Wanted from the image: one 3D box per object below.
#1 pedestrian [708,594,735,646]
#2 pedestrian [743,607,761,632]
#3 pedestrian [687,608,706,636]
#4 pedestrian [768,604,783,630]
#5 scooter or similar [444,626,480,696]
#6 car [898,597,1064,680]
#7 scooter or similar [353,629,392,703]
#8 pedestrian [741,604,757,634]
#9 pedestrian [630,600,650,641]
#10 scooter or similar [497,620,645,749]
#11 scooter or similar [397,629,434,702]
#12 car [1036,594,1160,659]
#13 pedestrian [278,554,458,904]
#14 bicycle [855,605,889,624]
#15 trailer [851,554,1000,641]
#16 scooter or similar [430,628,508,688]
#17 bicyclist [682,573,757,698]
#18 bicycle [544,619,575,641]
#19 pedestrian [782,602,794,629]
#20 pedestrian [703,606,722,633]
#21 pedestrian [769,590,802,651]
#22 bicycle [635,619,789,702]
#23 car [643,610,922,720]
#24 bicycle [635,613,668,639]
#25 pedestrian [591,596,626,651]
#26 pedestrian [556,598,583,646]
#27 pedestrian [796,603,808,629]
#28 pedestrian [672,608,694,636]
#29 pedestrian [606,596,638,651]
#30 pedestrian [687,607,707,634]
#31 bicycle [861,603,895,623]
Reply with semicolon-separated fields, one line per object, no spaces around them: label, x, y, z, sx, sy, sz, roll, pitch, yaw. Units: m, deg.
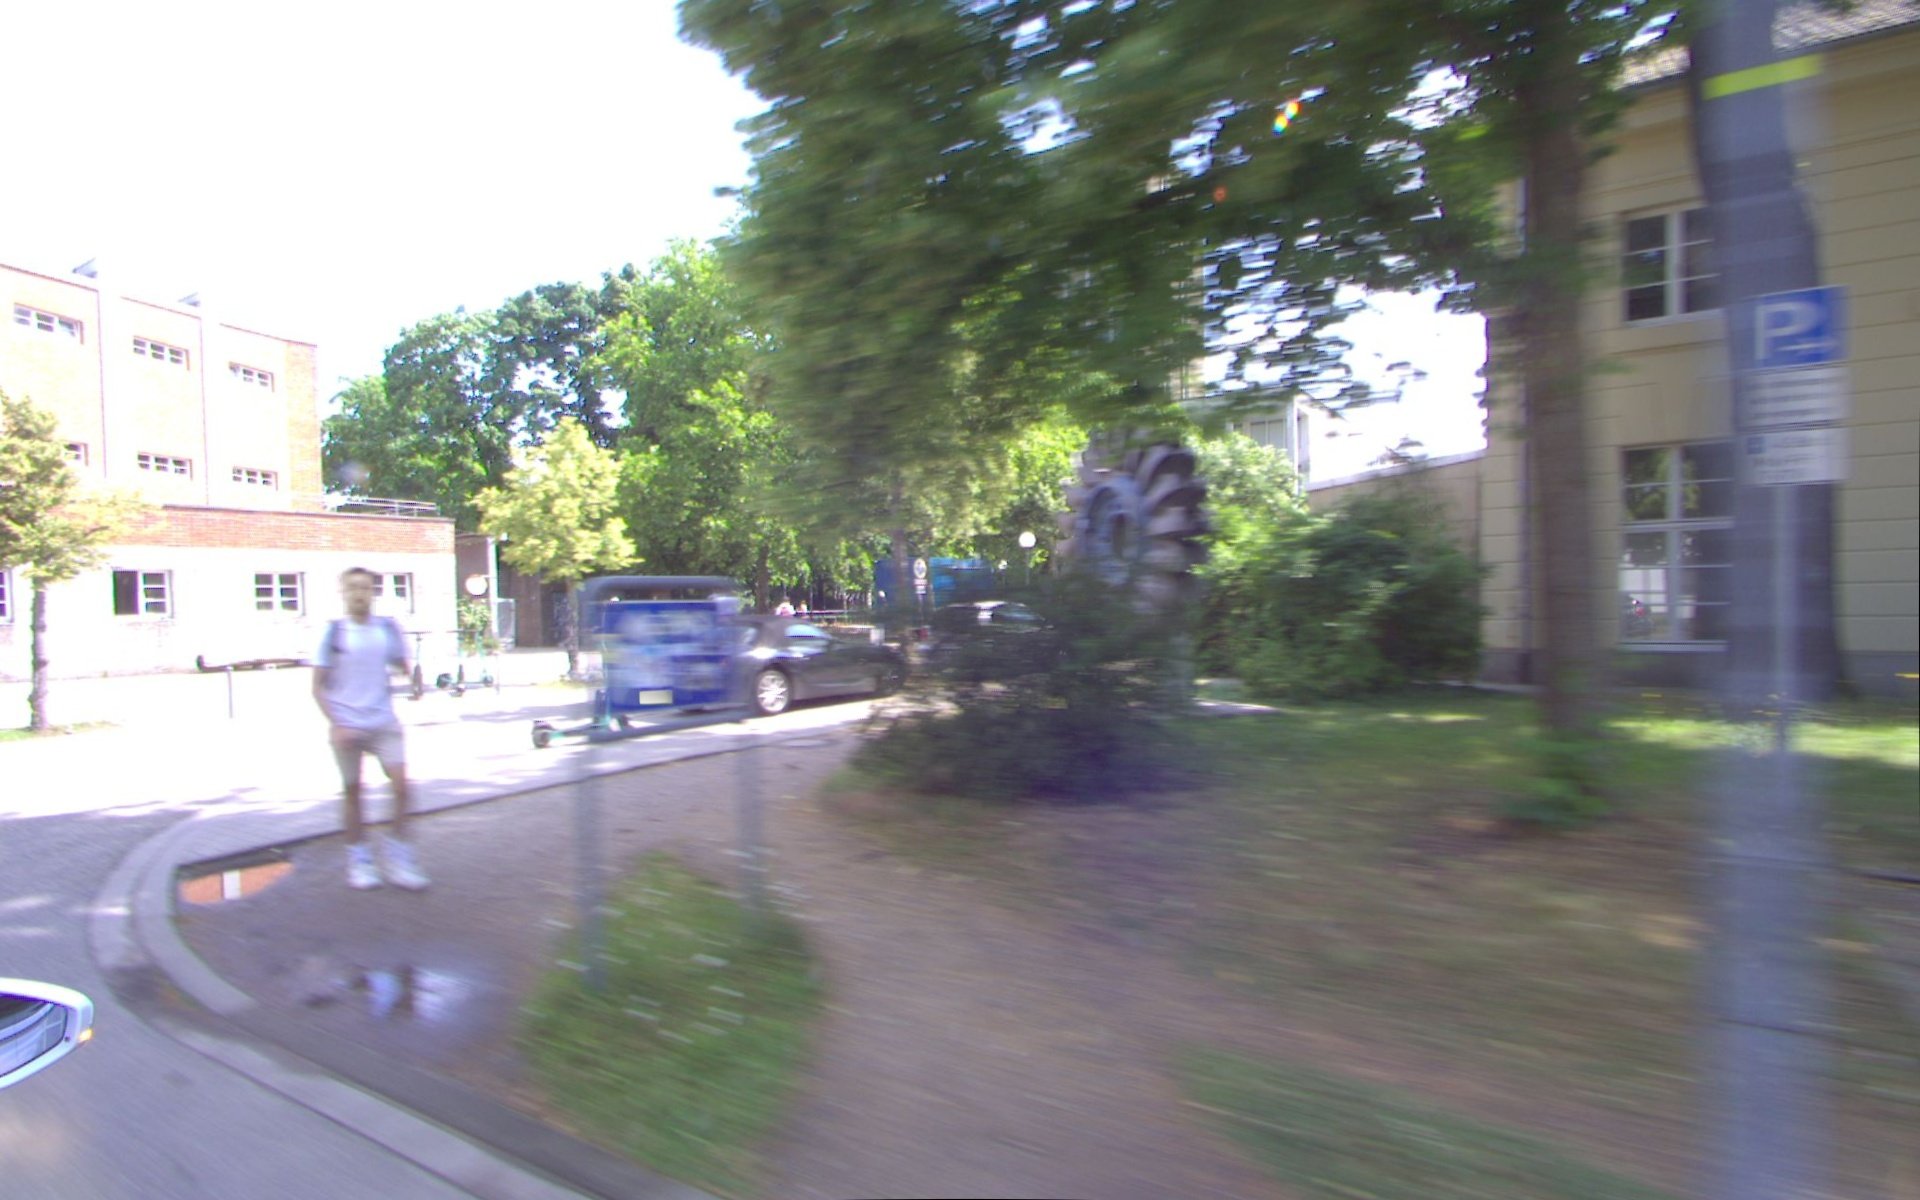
pedestrian;-8.555;0.724;35.876;0.867;1.843;0.447;0;-1;-29
pedestrian;-10.611;1.005;51.173;0.560;1.267;0.765;0;1;22
pedestrian;-12.897;1.080;49.010;0.638;1.341;0.555;-1;1;35
pedestrian;-8.965;0.819;48.649;0.583;1.250;0.742;-1;3;-1
scooter or similar;-9.483;1.131;19.059;0.516;1.241;1.567;-1;0;-29
car;0.530;0.734;20.057;1.569;1.485;3.970;-1;-1;31
scooter or similar;-10.589;1.164;18.078;0.562;1.241;1.567;-1;0;-29
pedestrian;-10.173;0.912;48.334;0.583;1.388;0.703;-1;3;-1
pedestrian;-13.345;0.856;41.790;0.665;1.674;0.503;0;2;-6
scooter or similar;-4.146;0.859;10.741;0.548;1.270;1.370;0;0;41
scooter or similar;-10.081;1.183;18.513;0.557;1.241;1.567;-1;0;-29
car;3.502;0.610;24.878;1.628;1.409;3.968;-1;1;31
pedestrian;-3.232;0.656;5.482;0.575;1.768;0.637;0;1;35
bicycle;-5.136;0.847;58.446;1.982;1.021;0.583;-1;1;25
trailer;-1.171;-0.104;38.455;2.667;3.067;6.231;1;1;33
scooter or similar;-10.183;1.180;20.774;0.559;1.164;1.337;0;0;45
bicyclist;-4.040;0.577;16.828;0.863;2.040;0.845;0;1;30
bicycle;-16.585;1.242;41.449;0.301;0.895;1.224;0;0;34
pedestrian;-9.730;0.864;56.543;0.498;1.543;0.472;0;1;23
pedestrian;-11.944;0.921;48.336;0.554;1.288;0.689;1;1;34
pedestrian;-5.434;0.626;31.224;0.837;1.861;0.877;0;3;3
bicycle;-4.079;0.949;16.763;0.872;1.215;2.737;0;0;29
car;-2.400;0.829;14.461;1.690;1.297;3.976;-1;0;34
bicycle;-13.380;1.130;43.487;1.324;1.090;0.417;0;-1;-10
pedestrian;-11.640;0.778;33.198;0.569;1.803;0.912;0;1;32
pedestrian;-14.373;0.802;36.889;0.867;1.742;0.487;0;-1;-29
pedestrian;-8.842;0.908;56.129;0.498;1.442;0.459;0;1;23
pedestrian;-13.296;1.048;48.078;0.680;1.341;0.773;-1;1;35
pedestrian;-11.099;0.759;32.910;0.557;1.785;0.801;0;1;32
pedestrian;-12.477;0.964;47.529;0.554;1.288;0.689;1;1;34
bicycle;-4.878;0.765;59.395;1.982;1.133;0.583;-1;1;25
